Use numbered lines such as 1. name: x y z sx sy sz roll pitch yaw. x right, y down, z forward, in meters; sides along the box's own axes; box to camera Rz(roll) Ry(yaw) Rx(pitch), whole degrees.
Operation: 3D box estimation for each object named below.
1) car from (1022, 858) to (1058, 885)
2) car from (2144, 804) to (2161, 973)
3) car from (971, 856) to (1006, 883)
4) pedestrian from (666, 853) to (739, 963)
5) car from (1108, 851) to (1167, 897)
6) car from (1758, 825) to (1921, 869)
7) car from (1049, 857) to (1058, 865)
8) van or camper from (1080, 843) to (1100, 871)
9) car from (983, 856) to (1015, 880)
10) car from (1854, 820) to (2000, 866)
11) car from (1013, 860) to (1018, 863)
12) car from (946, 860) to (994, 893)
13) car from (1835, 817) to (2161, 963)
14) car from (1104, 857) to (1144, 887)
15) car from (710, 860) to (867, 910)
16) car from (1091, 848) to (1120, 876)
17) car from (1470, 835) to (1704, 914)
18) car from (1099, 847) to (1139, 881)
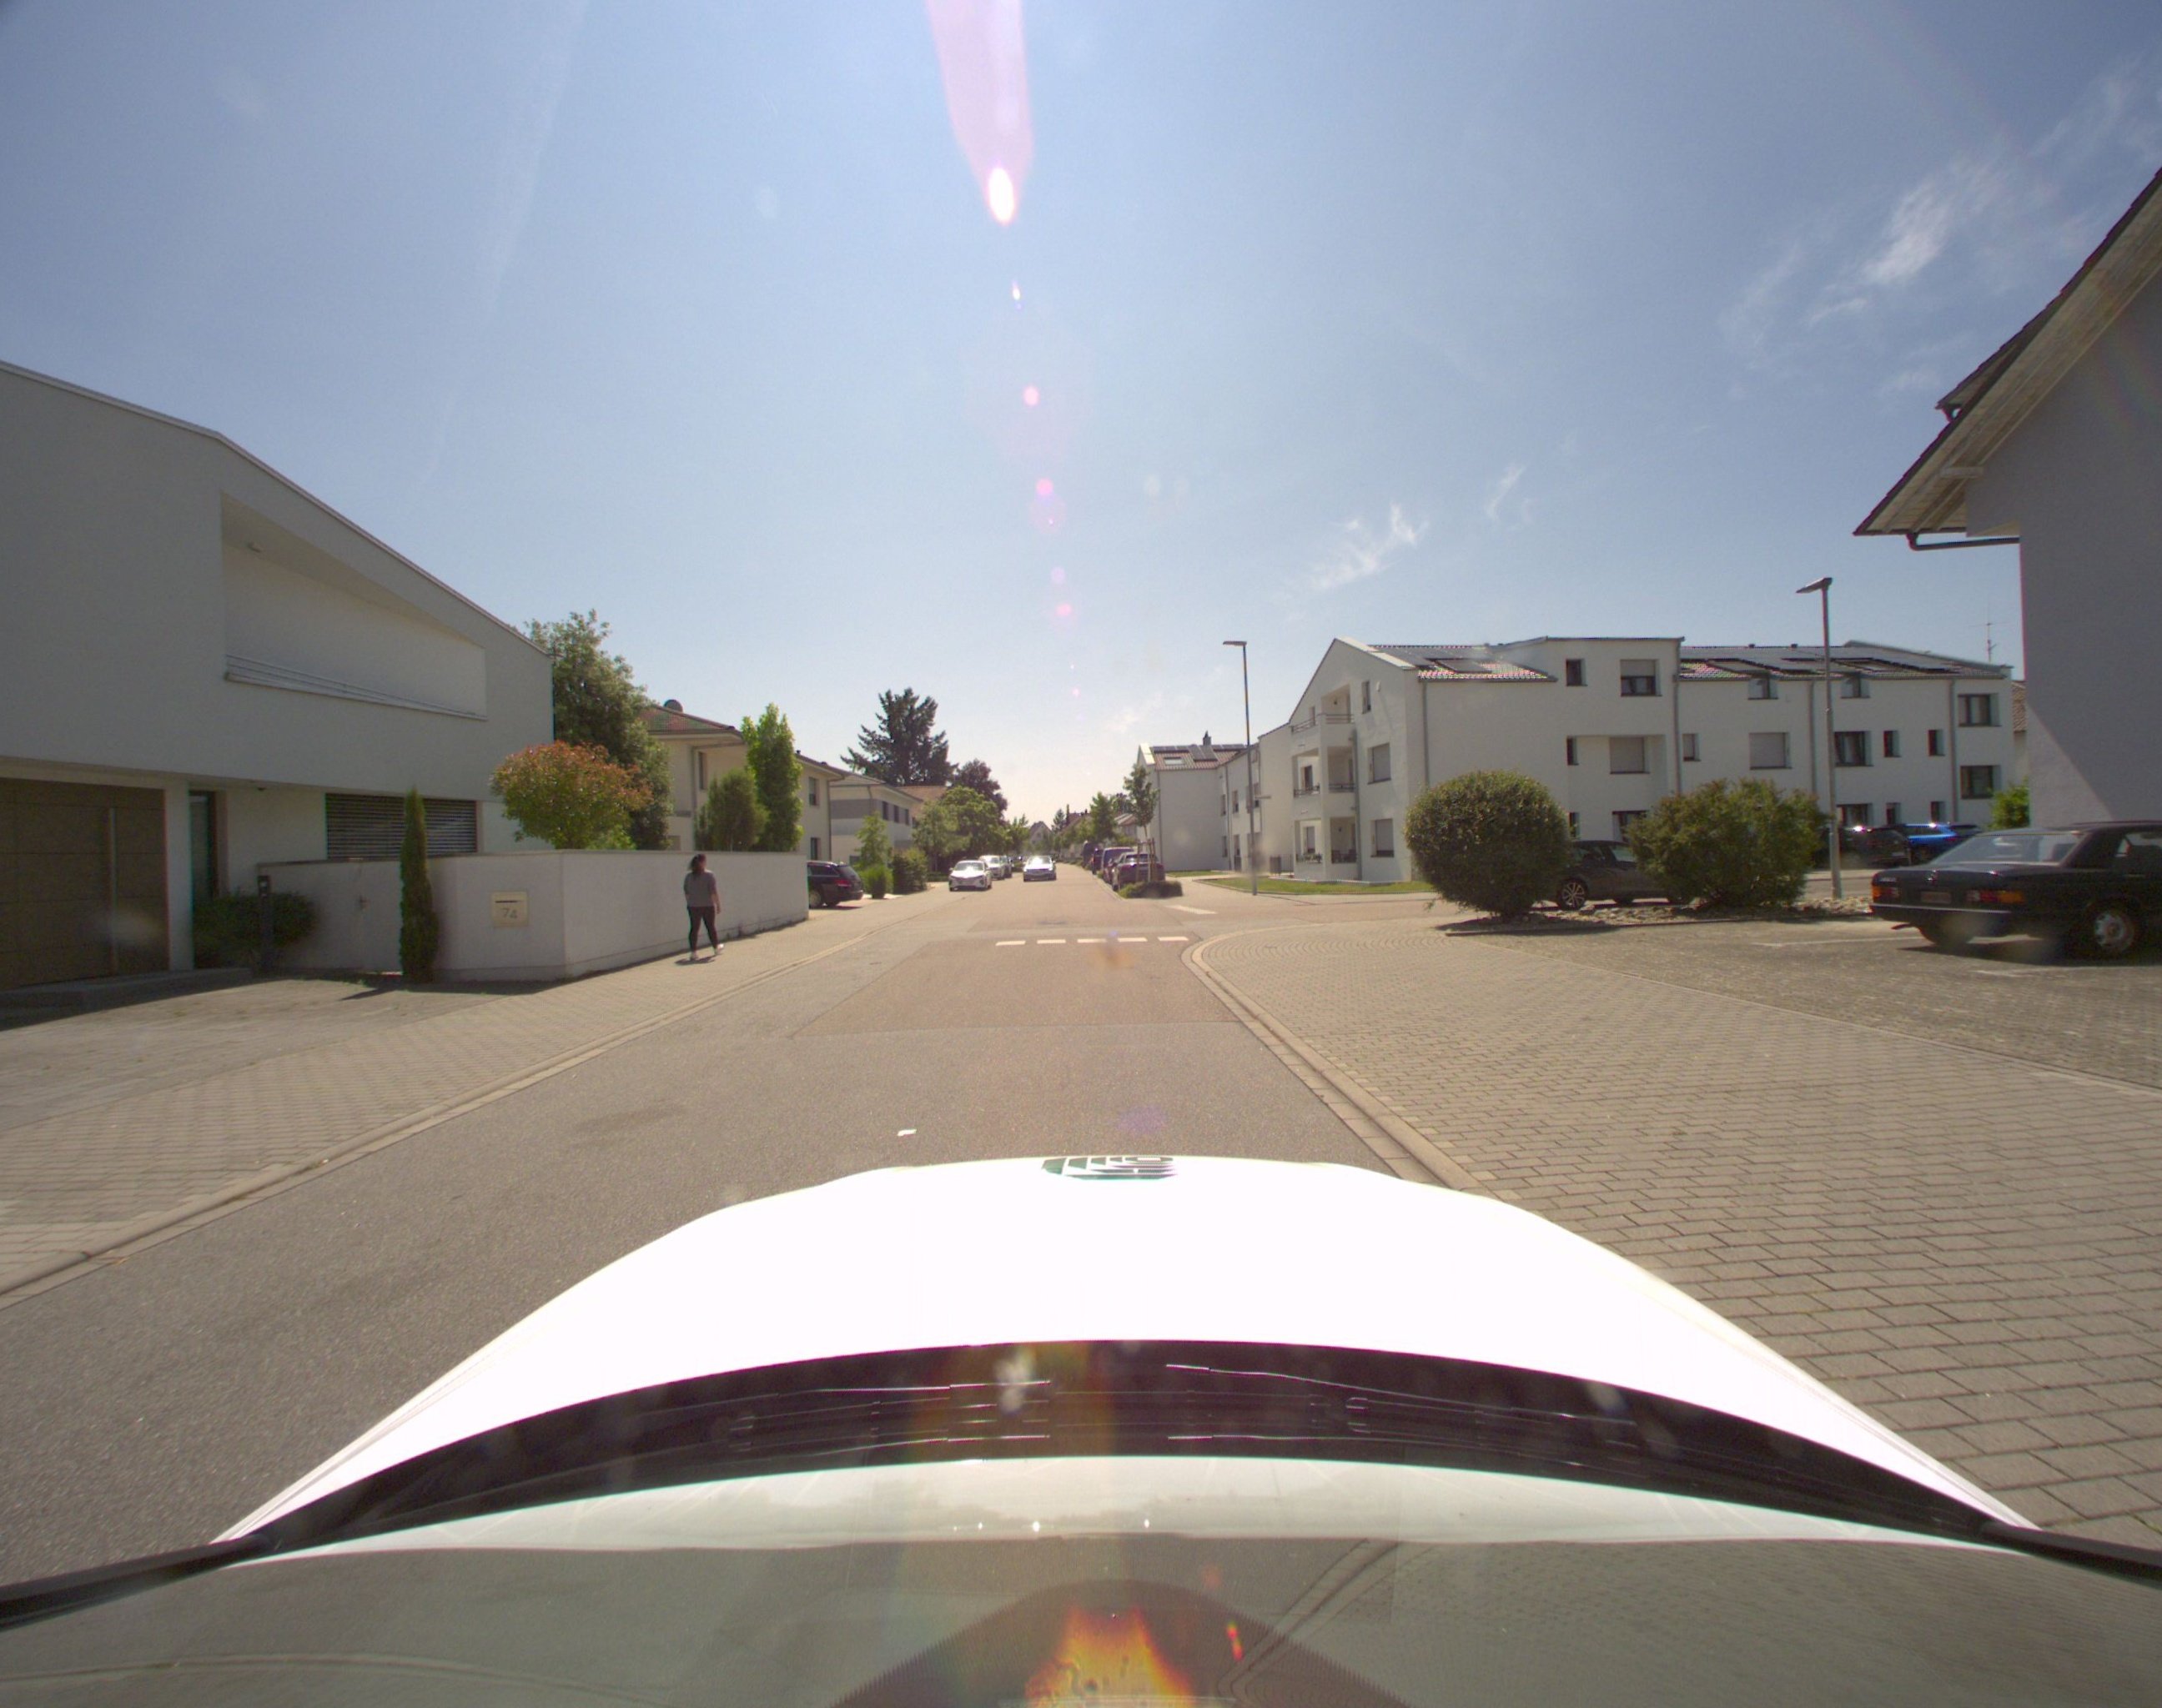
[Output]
1. car: -2.497 1.038 50.319 1.846 1.478 4.700 -2 0 1
2. car: 11.317 0.240 6.609 3.438 1.494 1.662 -2 0 -5
3. car: -6.306 1.041 55.885 1.921 1.687 4.496 -2 0 -1
4. pedestrian: -6.290 0.874 13.570 0.712 1.747 0.960 -2 0 -1
5. car: 2.189 0.755 32.587 1.769 1.595 4.274 -3 0 -3
6. car: 26.499 -0.223 28.654 1.749 1.412 3.997 -2 0 -7
7. car: -6.111 1.586 182.533 1.988 1.574 3.998 -2 0 -1
8. van or camper: 1.005 0.368 88.376 1.988 2.941 3.998 -1 0 -1
9. car: -6.258 1.040 62.352 1.988 1.680 4.213 -2 0 -1
10. car: 28.988 -0.350 28.024 1.457 1.441 3.207 -2 0 -9
11. car: -20.246 2.273 251.654 1.188 1.070 3.042 -2 0 -10
12. car: -5.513 1.080 40.965 1.846 1.488 4.383 -2 0 -1
13. car: 11.146 0.311 9.043 4.194 1.374 1.662 -2 0 -5
14. car: 2.208 0.897 42.648 1.676 1.441 4.022 -2 0 -3
15. car: -9.505 0.982 26.698 4.410 1.473 1.852 1 0 3
16. car: 1.863 0.598 63.576 1.988 1.947 5.212 -3 0 -1
17. car: 10.811 0.418 17.573 3.983 1.467 1.754 -2 0 -3
18. car: 2.244 0.594 49.307 2.092 1.882 4.842 -2 0 0
